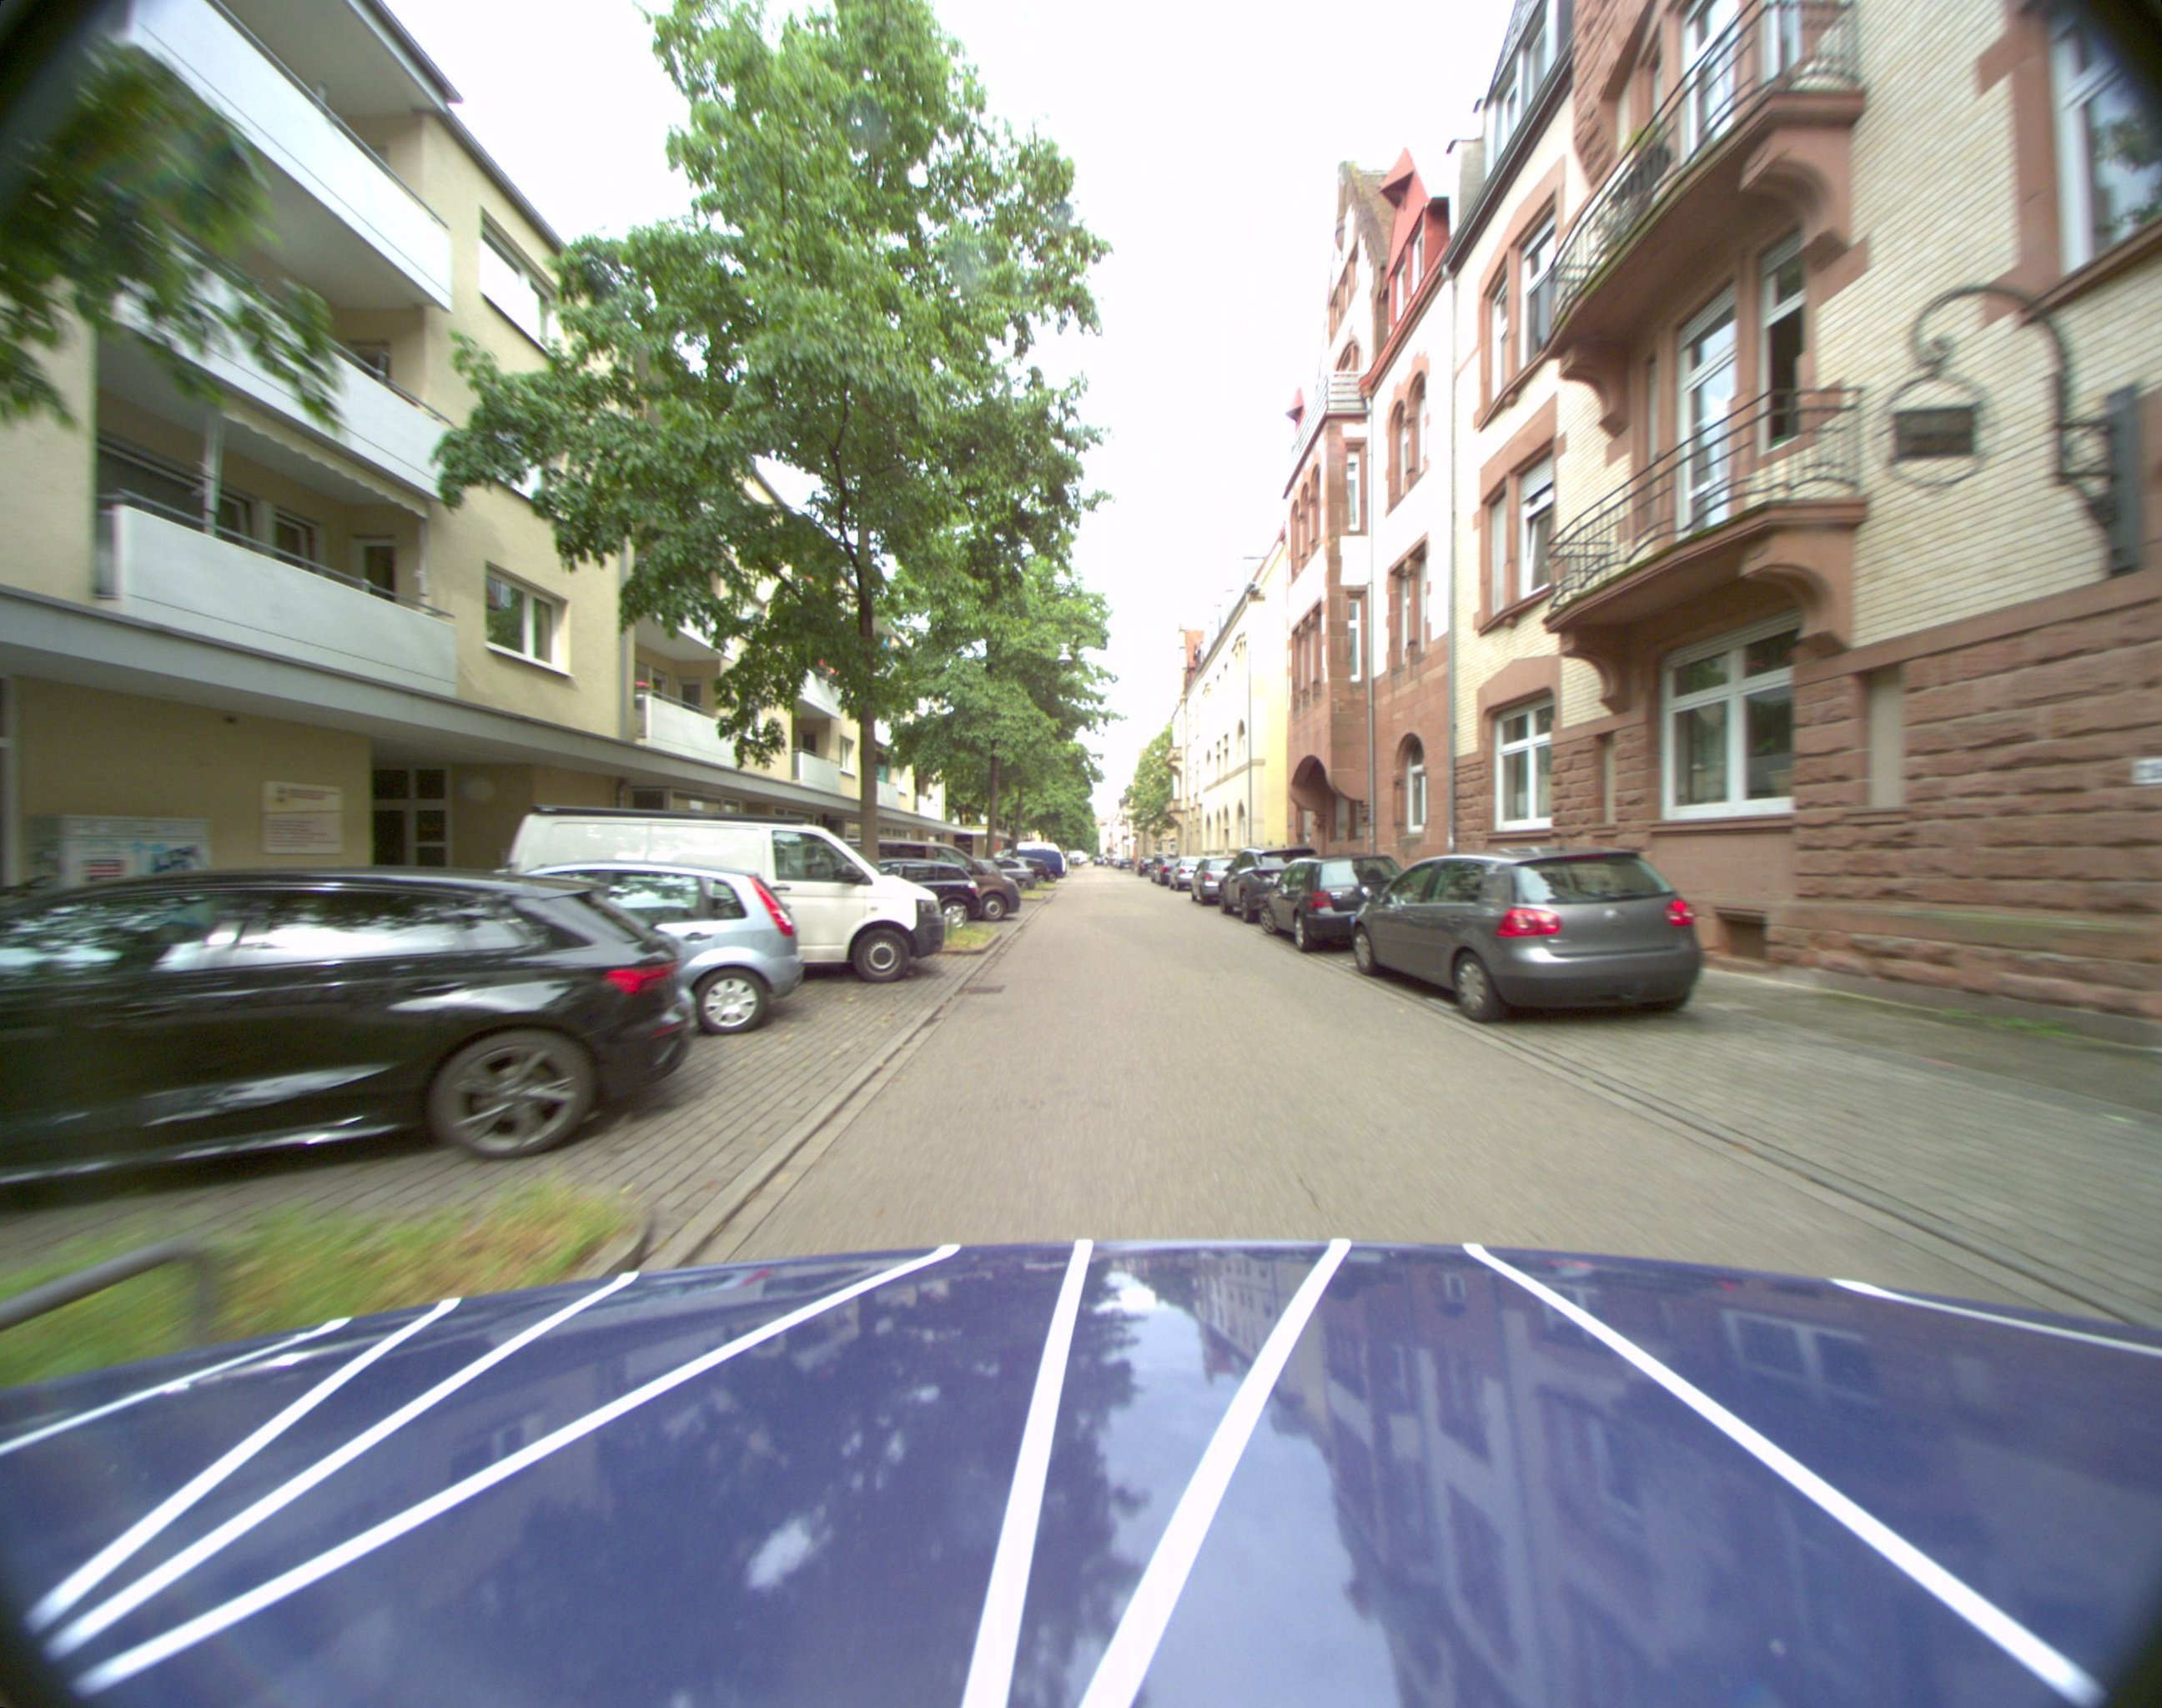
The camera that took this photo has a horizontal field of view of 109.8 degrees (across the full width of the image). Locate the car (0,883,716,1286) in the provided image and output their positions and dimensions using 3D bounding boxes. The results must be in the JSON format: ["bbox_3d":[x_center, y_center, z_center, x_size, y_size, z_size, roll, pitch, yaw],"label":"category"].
[{"bbox_3d":[-4.249,0.886,3.702,4.322,1.384,1.918,2,0,-29],"label":"car"}]

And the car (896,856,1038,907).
[{"bbox_3d":[-3.614,0.849,23.988,4.057,1.475,1.944,1,0,-23],"label":"car"}]

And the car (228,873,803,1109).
[{"bbox_3d":[-4.291,0.914,6.364,3.431,1.433,1.667,1,0,-30],"label":"car"}]

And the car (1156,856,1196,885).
[{"bbox_3d":[4.861,0.812,39.286,1.730,1.378,3.930,-1,0,2],"label":"car"}]

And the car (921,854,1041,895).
[{"bbox_3d":[-3.917,0.806,29.873,4.234,1.492,1.971,1,1,-29],"label":"car"}]

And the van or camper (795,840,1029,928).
[{"bbox_3d":[-3.969,0.670,17.927,5.029,1.858,2.122,1,0,-25],"label":"van or camper"}]

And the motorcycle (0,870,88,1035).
[{"bbox_3d":[-9.039,0.803,5.509,0.679,1.293,2.253,2,0,0],"label":"motorcycle"}]

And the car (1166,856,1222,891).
[{"bbox_3d":[4.765,0.798,32.634,1.730,1.378,4.136,-1,0,-1],"label":"car"}]

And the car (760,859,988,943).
[{"bbox_3d":[-4.086,0.893,15.145,4.015,1.436,1.837,2,0,-30],"label":"car"}]

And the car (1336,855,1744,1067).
[{"bbox_3d":[4.080,0.800,7.646,1.672,1.464,4.000,-4,0,1],"label":"car"}]

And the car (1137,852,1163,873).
[{"bbox_3d":[5.221,0.635,57.683,1.713,1.486,4.001,-3,0,2],"label":"car"}]

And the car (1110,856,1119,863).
[{"bbox_3d":[6.661,1.126,152.758,1.610,1.463,3.343,0,0,0],"label":"car"}]

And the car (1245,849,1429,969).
[{"bbox_3d":[3.997,0.758,12.588,1.638,1.464,3.999,-6,1,1],"label":"car"}]

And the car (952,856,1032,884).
[{"bbox_3d":[-4.791,0.844,40.928,3.919,1.457,1.821,0,0,-23],"label":"car"}]

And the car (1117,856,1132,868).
[{"bbox_3d":[5.628,1.044,98.310,1.593,1.425,3.810,-2,0,0],"label":"car"}]

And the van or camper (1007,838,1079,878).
[{"bbox_3d":[-2.636,0.286,53.558,4.604,2.581,1.906,-2,0,-31],"label":"van or camper"}]

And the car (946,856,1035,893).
[{"bbox_3d":[-3.851,0.842,32.148,3.374,1.488,1.848,0,0,-22],"label":"car"}]

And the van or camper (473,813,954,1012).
[{"bbox_3d":[-4.134,0.608,9.295,4.750,1.983,1.995,2,2,-21],"label":"van or camper"}]

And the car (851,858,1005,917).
[{"bbox_3d":[-4.230,0.882,20.940,3.866,1.493,1.909,1,0,-23],"label":"car"}]

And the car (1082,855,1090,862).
[{"bbox_3d":[1.406,1.206,201.358,1.998,1.739,4.001,-1,0,3],"label":"car"}]

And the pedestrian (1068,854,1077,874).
[{"bbox_3d":[-0.691,0.864,64.503,0.617,1.633,0.604,-1,0,13],"label":"pedestrian"}]

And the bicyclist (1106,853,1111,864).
[{"bbox_3d":[3.910,0.644,108.860,0.649,1.529,0.677,0,1,3],"label":"bicyclist"}]

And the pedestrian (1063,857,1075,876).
[{"bbox_3d":[-1.003,1.043,63.523,0.630,1.584,0.671,-1,0,42],"label":"pedestrian"}]

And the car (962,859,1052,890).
[{"bbox_3d":[-3.753,1.007,38.571,4.120,1.434,1.848,0,0,-30],"label":"car"}]

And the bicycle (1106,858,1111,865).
[{"bbox_3d":[3.904,1.088,108.829,0.635,1.087,1.800,0,-1,3],"label":"bicycle"}]

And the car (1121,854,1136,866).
[{"bbox_3d":[5.567,0.707,89.146,1.731,1.425,3.882,-2,0,3],"label":"car"}]

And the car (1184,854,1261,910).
[{"bbox_3d":[4.262,0.796,23.442,1.666,1.412,3.929,-6,0,2],"label":"car"}]

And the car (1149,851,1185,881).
[{"bbox_3d":[4.909,0.688,43.484,1.650,1.561,2.957,-3,-1,0],"label":"car"}]

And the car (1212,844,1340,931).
[{"bbox_3d":[4.342,0.692,17.661,1.790,1.637,4.362,-5,0,1],"label":"car"}]

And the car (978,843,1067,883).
[{"bbox_3d":[-3.385,0.555,44.382,4.716,2.183,2.061,2,-1,-37],"label":"car"}]
